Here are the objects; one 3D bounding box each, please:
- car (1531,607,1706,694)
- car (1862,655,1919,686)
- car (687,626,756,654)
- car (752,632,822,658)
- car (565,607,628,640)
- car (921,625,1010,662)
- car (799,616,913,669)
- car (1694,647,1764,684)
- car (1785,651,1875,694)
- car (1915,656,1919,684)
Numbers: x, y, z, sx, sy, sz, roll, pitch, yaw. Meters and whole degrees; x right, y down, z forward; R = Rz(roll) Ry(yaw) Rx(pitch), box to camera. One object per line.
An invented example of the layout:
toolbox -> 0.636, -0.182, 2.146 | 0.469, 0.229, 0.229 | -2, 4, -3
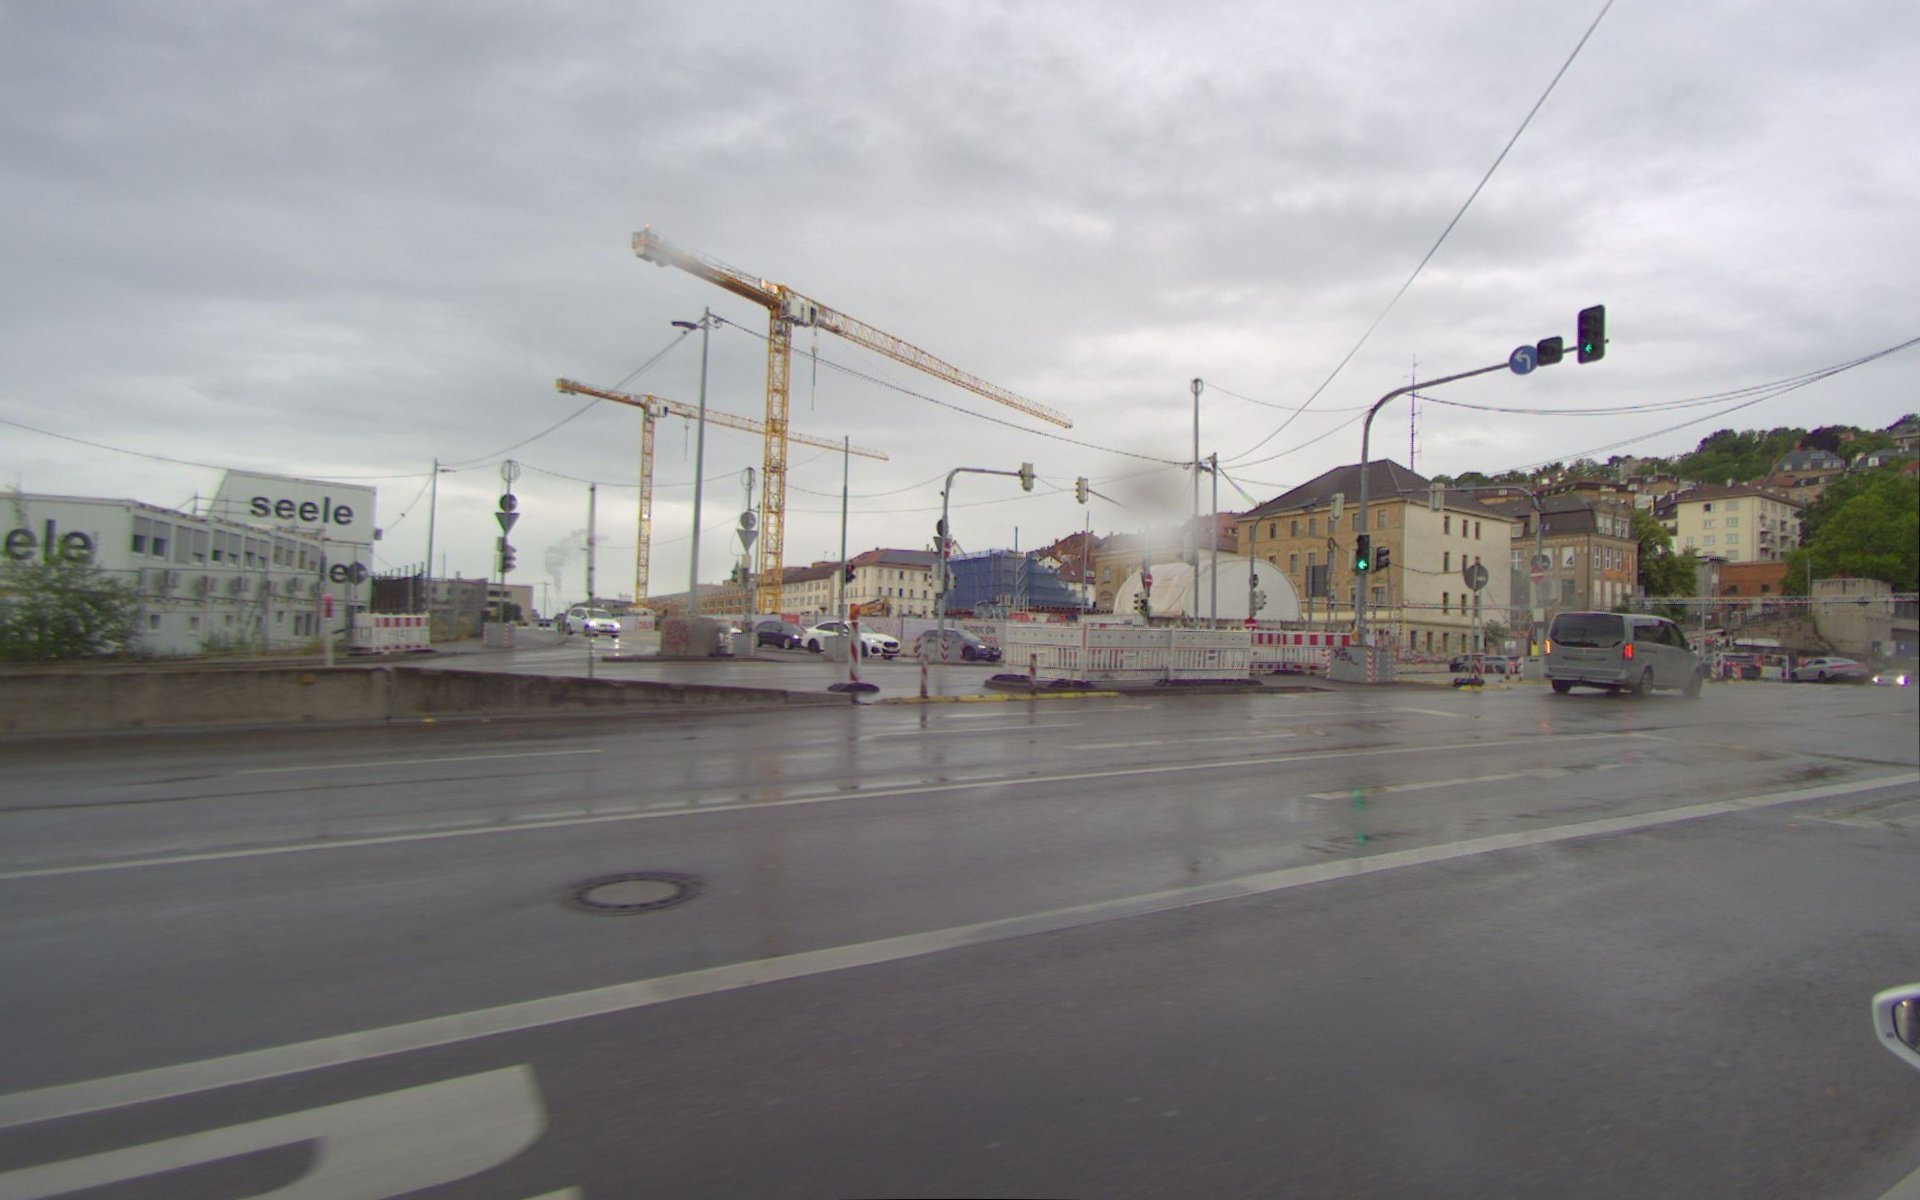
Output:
car -> 15.548, 1.173, 23.638 | 4.639, 1.863, 1.979 | 2, -2, -37
car -> 65.593, 4.935, 70.621 | 3.948, 2.040, 1.987 | 1, -1, -27
car -> -14.032, 2.327, 58.890 | 1.986, 1.578, 4.468 | 2, -3, -43
car -> -9.288, 2.405, 53.788 | 1.639, 1.194, 4.234 | 2, 0, -43
car -> -20.706, 1.367, 57.062 | 1.984, 1.795, 4.306 | 1, -2, -40
car -> 0.237, 1.935, 45.568 | 3.744, 1.586, 1.853 | -1, -2, 40
car -> -4.203, 1.688, 40.400 | 4.351, 2.040, 1.994 | -1, -2, 36
car -> 41.108, 3.454, 53.806 | 1.746, 1.773, 4.001 | 0, -1, 18
car -> 46.516, 3.830, 53.830 | 1.960, 2.040, 4.297 | 0, -1, 15
car -> 72.727, 5.187, 74.200 | 3.948, 2.040, 1.987 | 1, -1, -27
